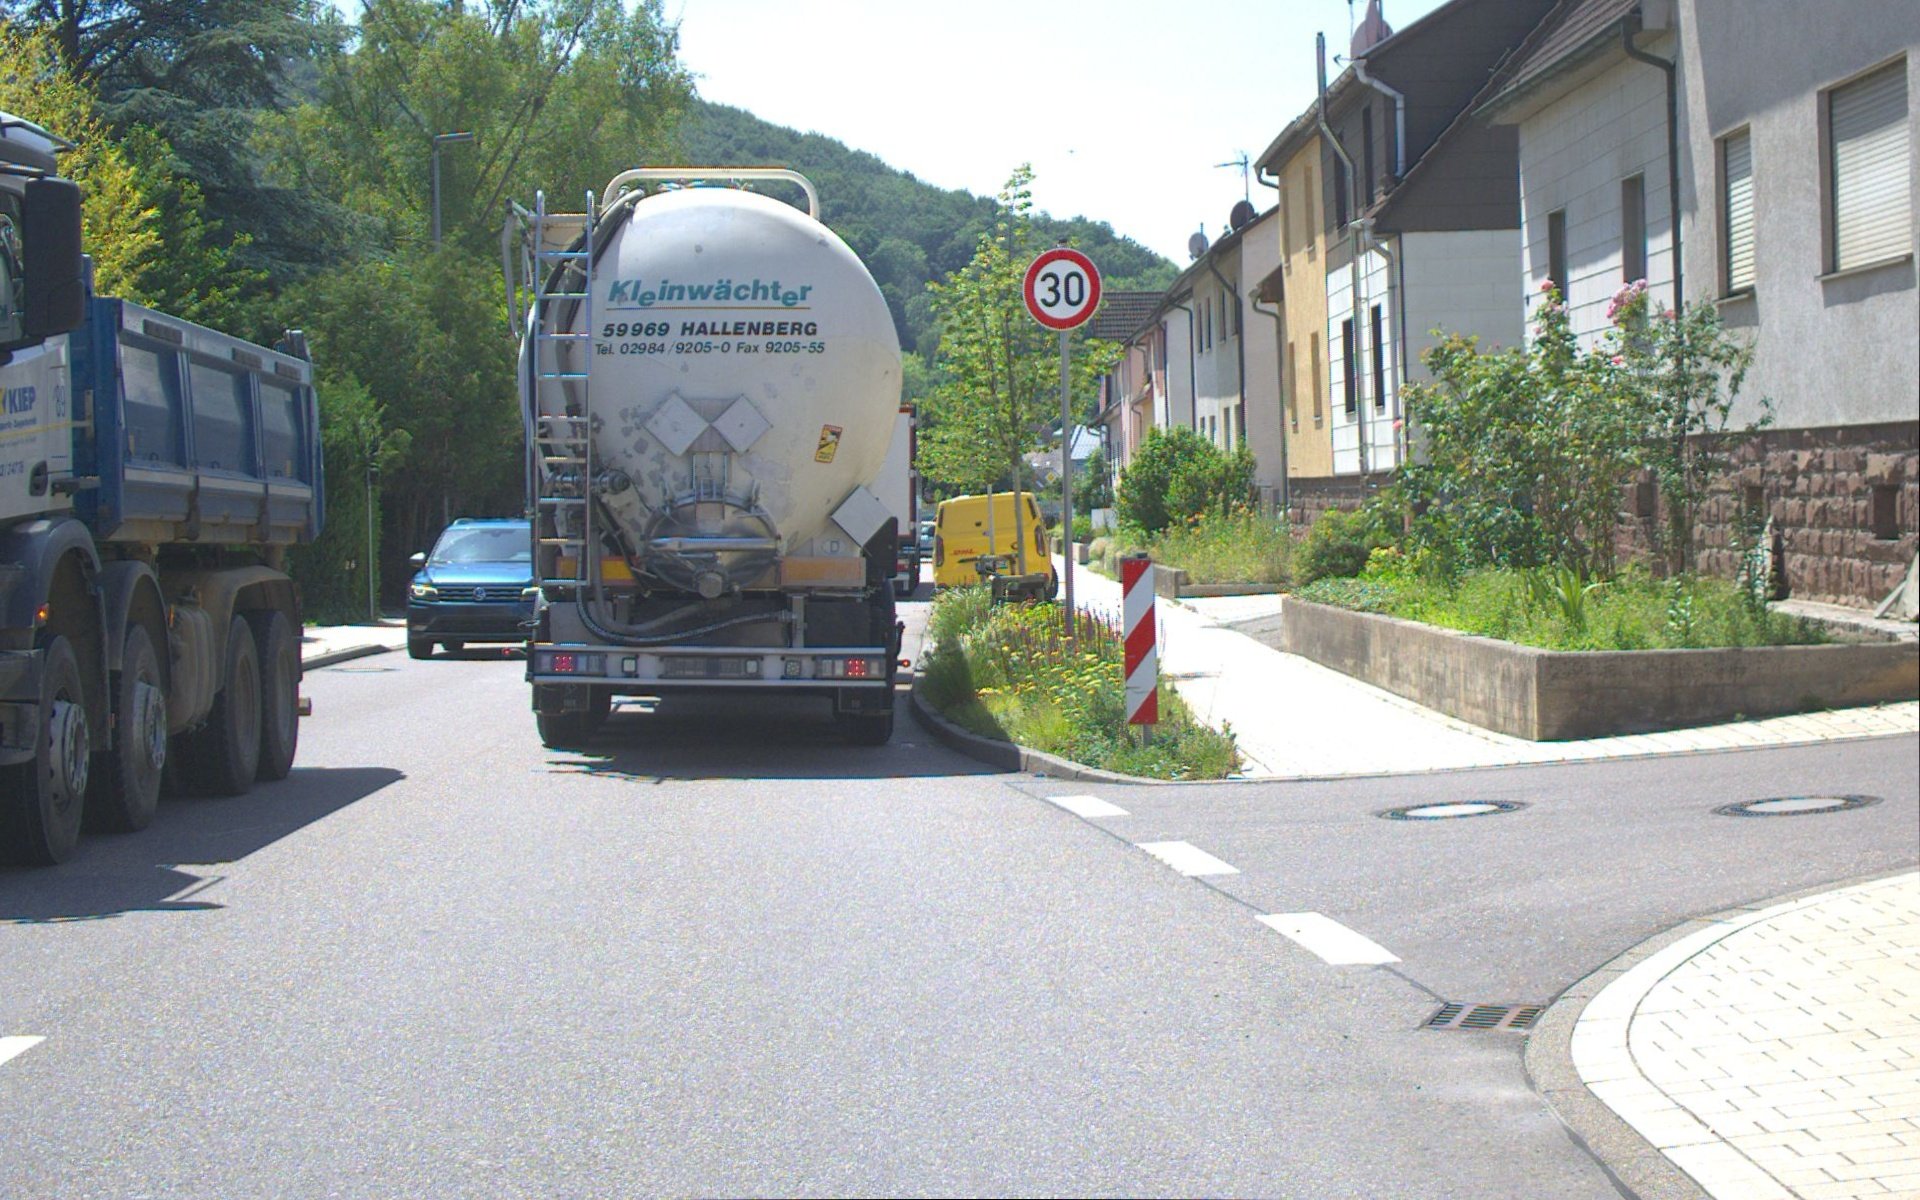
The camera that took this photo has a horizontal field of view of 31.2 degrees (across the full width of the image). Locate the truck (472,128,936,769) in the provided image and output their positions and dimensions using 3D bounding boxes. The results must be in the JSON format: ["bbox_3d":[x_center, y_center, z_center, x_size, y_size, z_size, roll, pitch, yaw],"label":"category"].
[{"bbox_3d":[-1.652,-1.109,27.182,2.750,4.042,10.890,0,2,0],"label":"truck"}]

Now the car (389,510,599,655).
[{"bbox_3d":[-5.571,-0.229,41.616,1.888,1.639,4.614,1,1,0],"label":"car"}]

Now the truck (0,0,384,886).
[{"bbox_3d":[-5.195,-0.741,18.133,2.542,3.725,8.622,-2,1,2],"label":"truck"}]

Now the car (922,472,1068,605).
[{"bbox_3d":[0.553,-1.044,59.590,2.189,2.006,5.623,-5,1,-1],"label":"car"}]
